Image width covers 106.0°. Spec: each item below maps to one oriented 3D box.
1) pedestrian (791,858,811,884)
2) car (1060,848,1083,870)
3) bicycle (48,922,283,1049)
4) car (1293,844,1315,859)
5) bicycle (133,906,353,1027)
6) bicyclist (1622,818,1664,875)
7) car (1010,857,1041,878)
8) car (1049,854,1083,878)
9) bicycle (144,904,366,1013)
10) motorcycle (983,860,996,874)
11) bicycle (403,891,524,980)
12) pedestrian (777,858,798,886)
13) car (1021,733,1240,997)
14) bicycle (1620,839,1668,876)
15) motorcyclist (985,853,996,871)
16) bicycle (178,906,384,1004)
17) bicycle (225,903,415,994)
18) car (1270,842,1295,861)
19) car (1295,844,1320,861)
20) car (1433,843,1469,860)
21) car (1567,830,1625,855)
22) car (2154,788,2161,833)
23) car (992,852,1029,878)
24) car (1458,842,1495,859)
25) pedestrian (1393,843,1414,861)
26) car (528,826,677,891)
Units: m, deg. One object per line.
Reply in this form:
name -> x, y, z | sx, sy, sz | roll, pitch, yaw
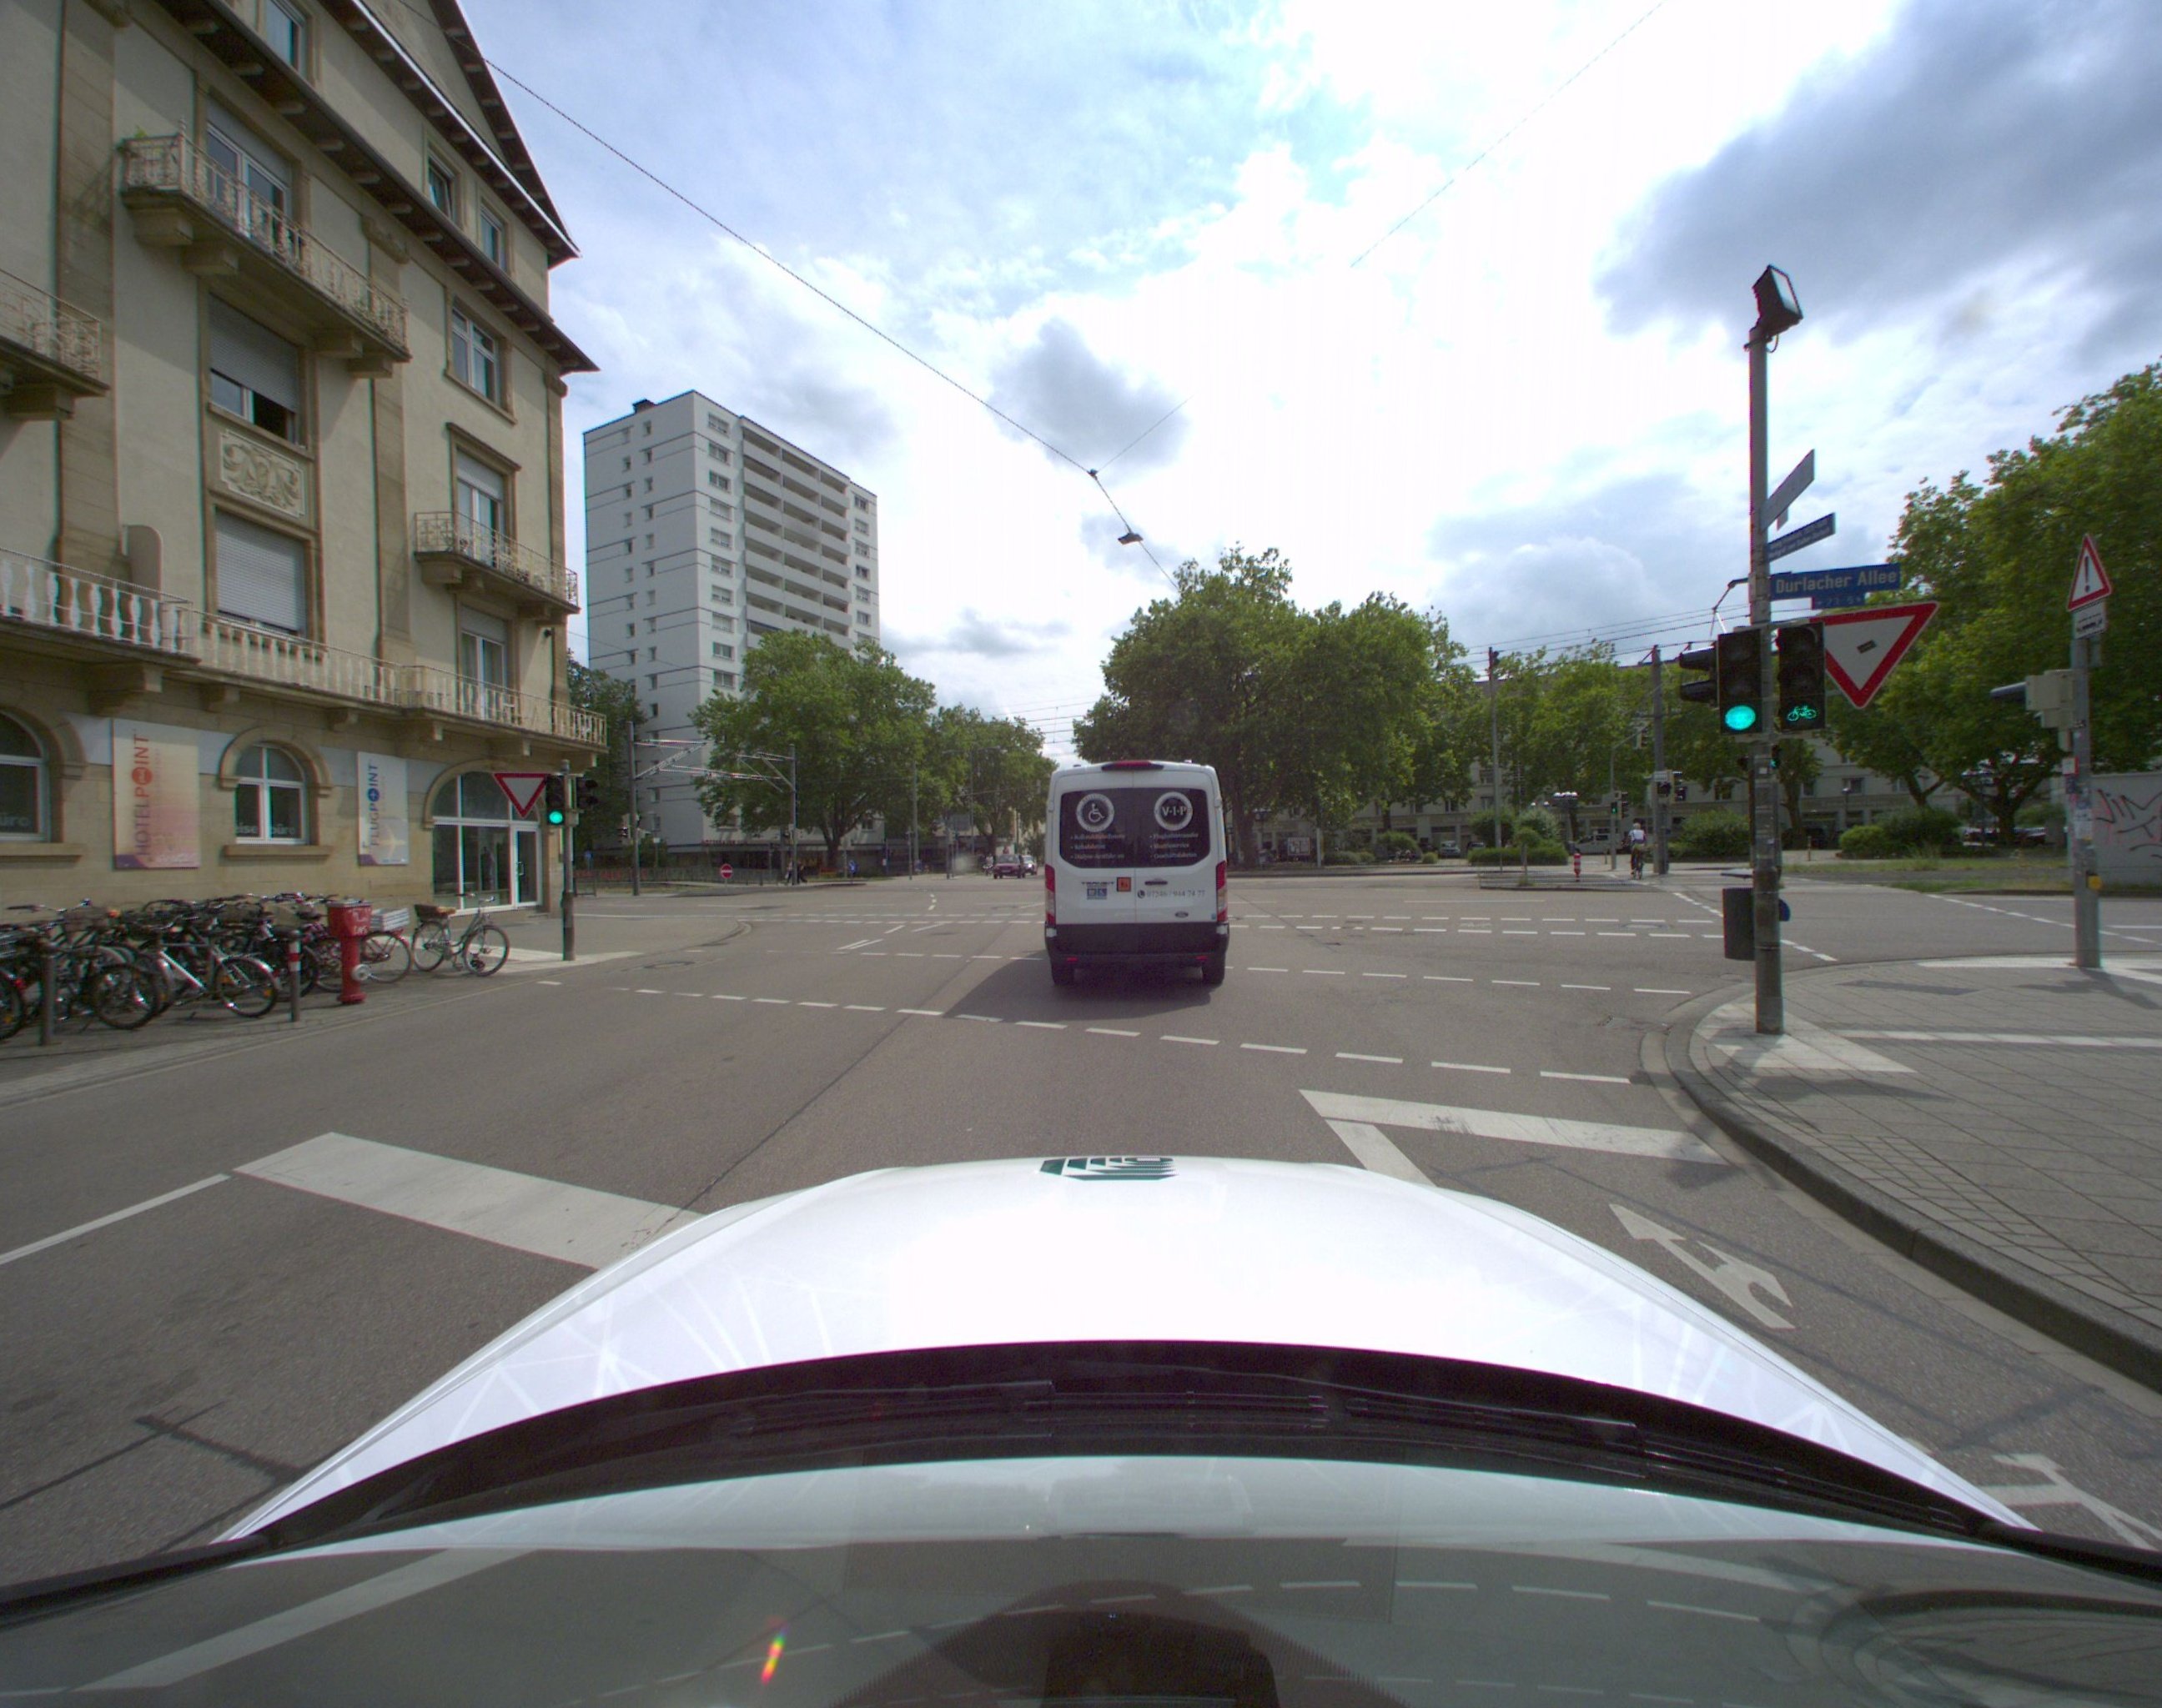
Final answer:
pedestrian -> -16.581, 1.023, 48.283 | 0.921, 1.514, 0.728 | -2, 0, 42
car -> -0.902, 0.451, 77.764 | 1.735, 1.930, 4.859 | -2, 0, 4
bicycle -> -8.928, 1.274, 7.966 | 1.799, 1.120, 0.595 | -2, 0, 8
car -> 26.067, -0.341, 95.106 | 1.788, 1.684, 4.022 | -2, 0, 23
bicycle -> -8.861, 1.167, 8.636 | 1.800, 1.120, 0.595 | 2, 0, 5
bicyclist -> 17.329, -0.229, 25.137 | 0.895, 1.683, 0.761 | -2, 0, 25
car -> -4.110, 0.955, 60.916 | 1.735, 1.427, 4.036 | -2, 0, 4
car -> -0.957, 0.765, 53.518 | 1.824, 1.427, 4.125 | -2, 0, 4
bicycle -> -9.467, 1.181, 9.388 | 1.807, 1.166, 0.593 | 0, -1, -6
motorcycle -> -7.009, 0.999, 62.474 | 0.680, 0.971, 2.325 | -2, 0, 2
bicycle -> -8.964, 1.149, 11.805 | 1.859, 1.167, 0.500 | 0, -1, 22
pedestrian -> -16.826, 1.009, 46.690 | 0.799, 1.572, 0.728 | -2, 0, 28
car -> 0.529, 0.083, 10.671 | 2.174, 2.647, 4.628 | -2, 1, 0
bicycle -> 17.331, 0.094, 25.118 | 0.894, 1.075, 1.981 | -2, 0, 25
motorcyclist -> -7.005, 0.605, 63.042 | 0.680, 1.395, 0.682 | -2, 0, 2
bicycle -> -9.775, 1.220, 10.006 | 1.807, 1.120, 0.593 | 0, -1, -6
bicycle -> -9.962, 1.219, 10.707 | 1.807, 1.120, 0.593 | 0, -1, -6
car -> 21.106, -0.285, 85.451 | 1.983, 1.930, 4.007 | -2, 0, 6
car -> 23.580, -0.195, 84.906 | 1.795, 1.684, 4.007 | -2, 0, 6
car -> 35.735, -0.265, 78.754 | 1.983, 1.503, 4.007 | -2, 0, 6
car -> 43.587, -0.968, 68.996 | 3.950, 1.883, 1.868 | -2, 0, 26
car -> 64.443, -2.611, 45.326 | 5.271, 2.585, 2.192 | -2, -1, 24
car -> -4.233, 0.643, 49.473 | 1.585, 1.507, 3.811 | -2, 0, 4
car -> 37.955, -0.343, 78.203 | 1.983, 1.519, 4.007 | -2, 0, 6
pedestrian -> 24.227, -0.151, 61.207 | 1.086, 1.236, 1.443 | -4, -1, 6
car -> -31.146, 0.338, 52.915 | 9.793, 3.915, 3.476 | -2, 0, 26
